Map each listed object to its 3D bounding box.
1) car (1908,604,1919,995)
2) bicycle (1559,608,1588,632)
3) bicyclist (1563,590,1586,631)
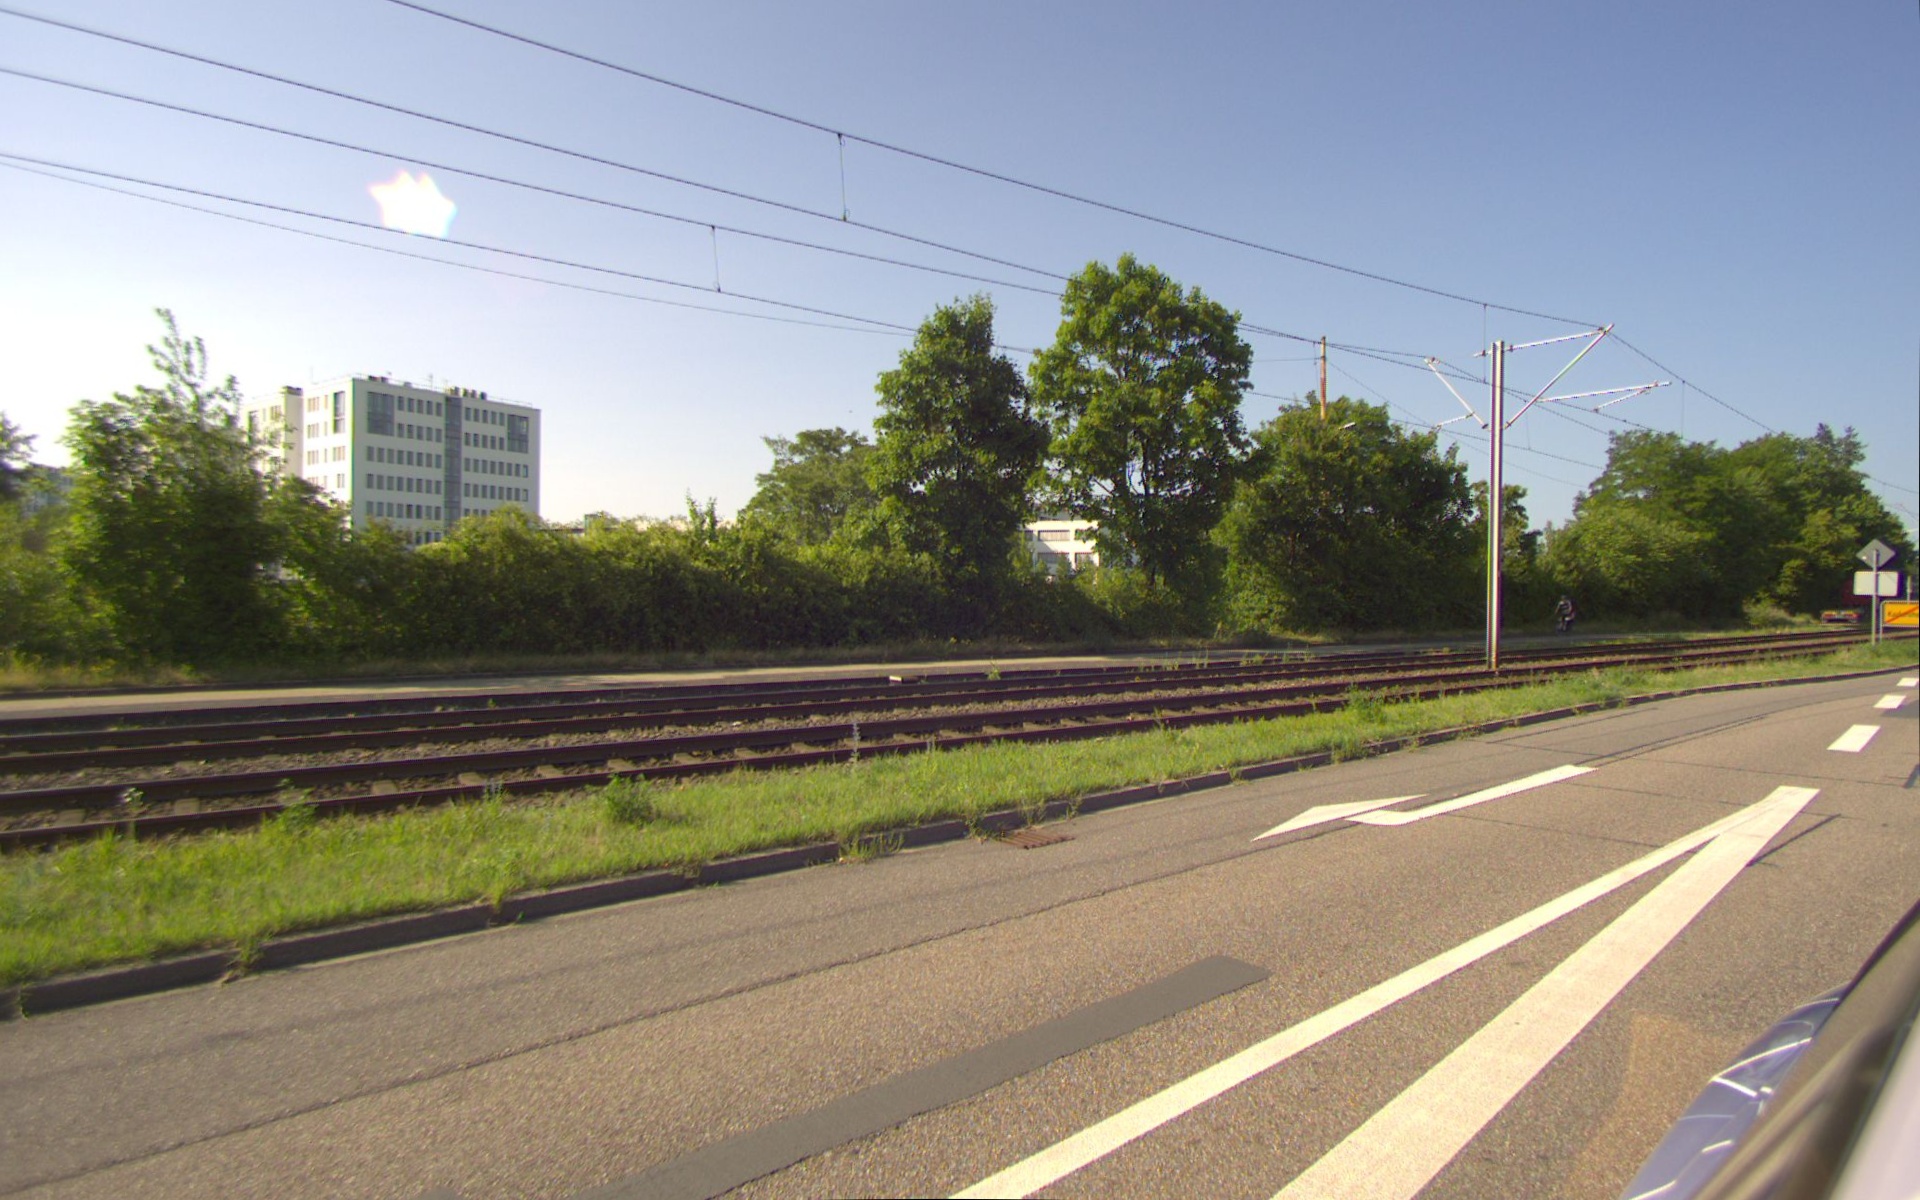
[{"bbox_3d":[5.761,0.733,4.499,4.383,1.442,1.819,0,0,-41],"label":"car"},{"bbox_3d":[27.673,0.903,45.642,1.840,1.060,0.546,0,1,-40],"label":"bicycle"},{"bbox_3d":[27.721,0.478,45.648,0.705,1.830,0.708,0,0,-39],"label":"bicyclist"}]
